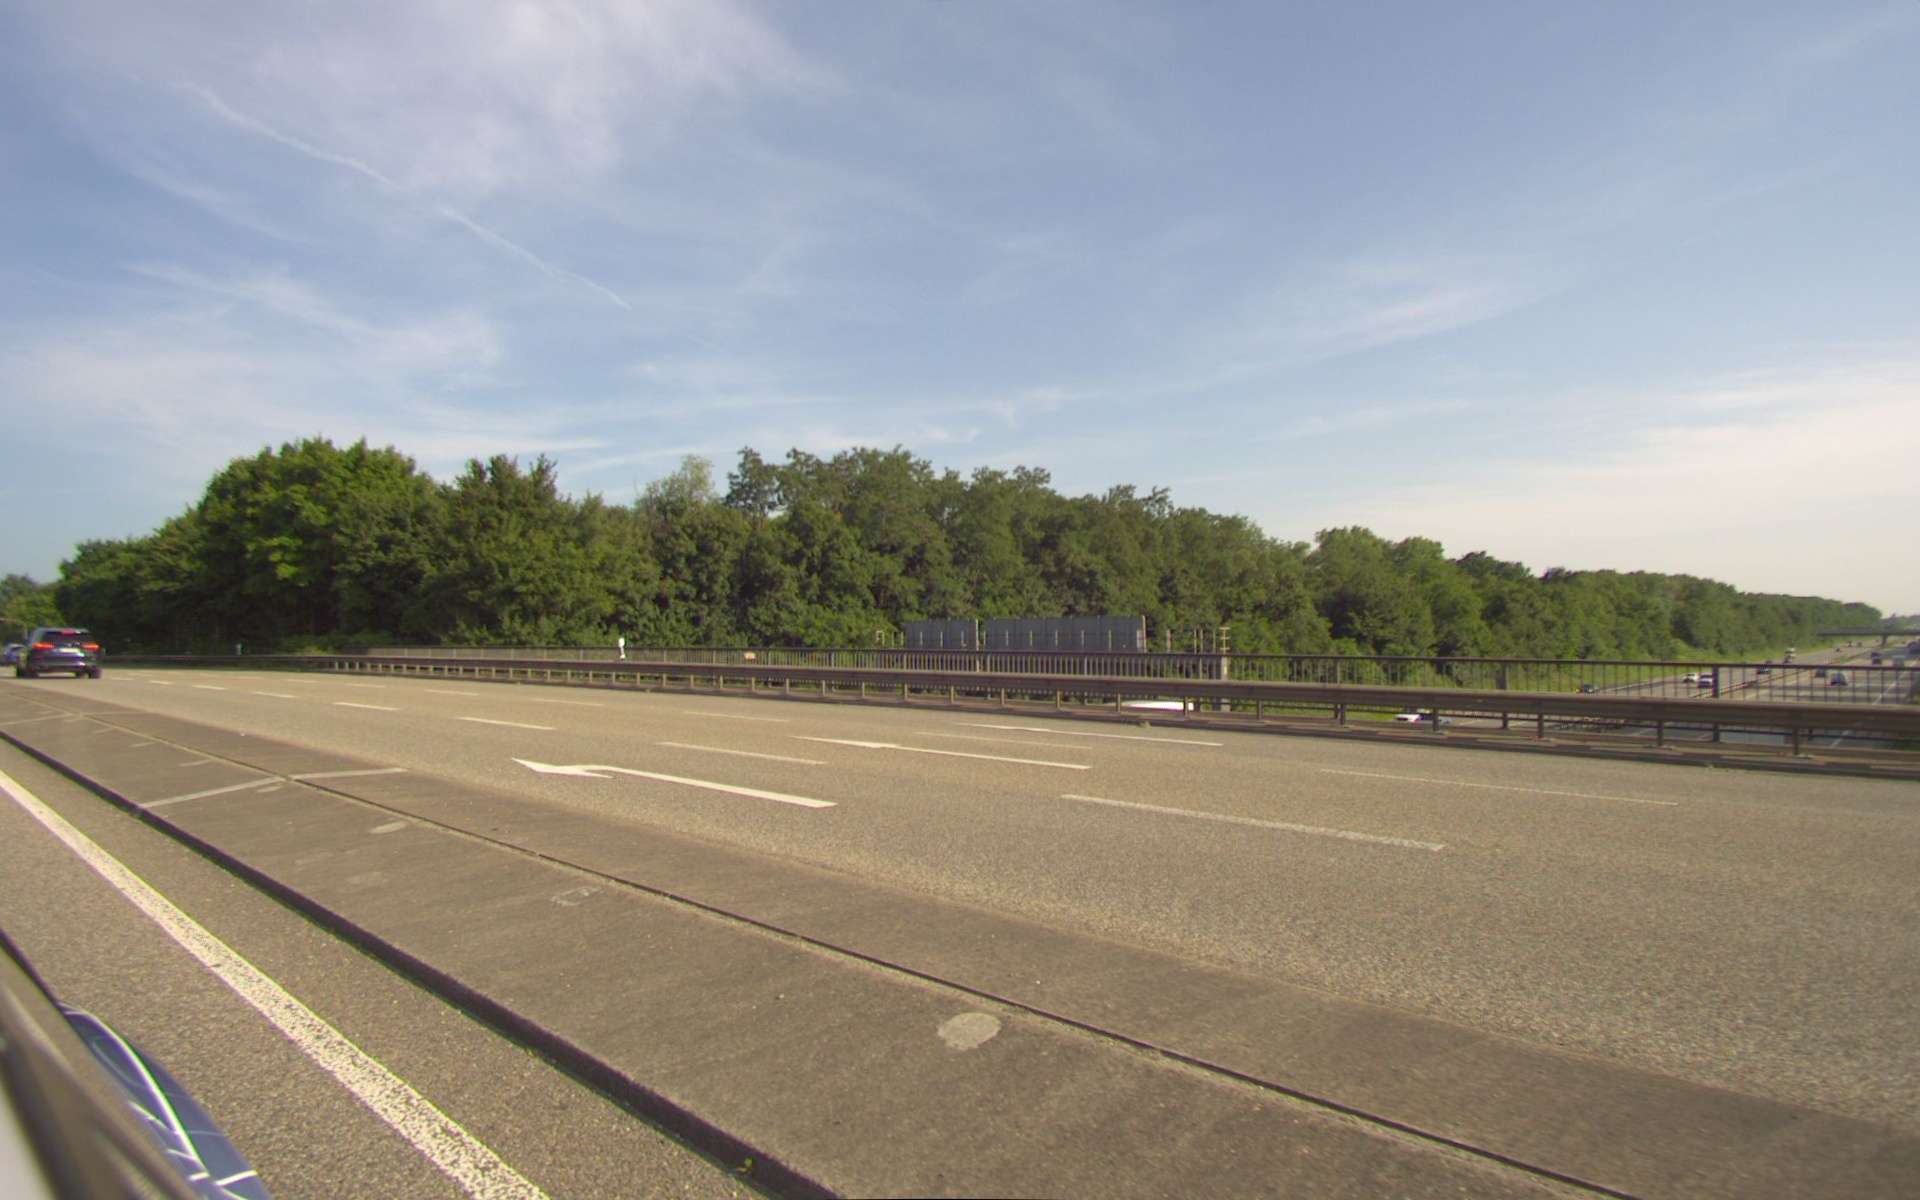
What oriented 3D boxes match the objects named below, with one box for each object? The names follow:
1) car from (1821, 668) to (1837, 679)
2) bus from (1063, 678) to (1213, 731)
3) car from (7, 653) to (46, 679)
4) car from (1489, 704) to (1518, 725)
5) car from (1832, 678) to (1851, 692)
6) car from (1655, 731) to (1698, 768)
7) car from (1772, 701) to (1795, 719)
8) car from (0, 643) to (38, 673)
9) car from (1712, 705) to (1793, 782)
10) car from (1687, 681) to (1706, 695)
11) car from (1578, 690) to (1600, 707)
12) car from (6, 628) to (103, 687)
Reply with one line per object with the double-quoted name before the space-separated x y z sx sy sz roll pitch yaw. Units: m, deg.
"car" 144.716 12.220 168.561 1.879 1.737 4.134 -2 -3 39
"bus" 10.398 6.028 57.927 10.784 2.028 2.316 11 -8 -42
"car" -76.428 5.382 82.856 4.417 1.842 1.895 -1 0 41
"car" 57.108 11.962 106.284 1.879 1.737 4.134 -2 -1 39
"car" 128.840 12.434 147.931 1.879 1.737 4.134 -2 -3 39
"car" 44.092 9.155 62.255 1.879 1.737 4.134 -2 -3 39
"car" 93.550 12.493 114.988 1.879 1.737 4.134 -2 -3 39
"car" -65.241 3.964 69.784 4.417 1.842 1.895 -1 0 41
"car" 36.676 6.678 46.878 2.762 3.142 6.232 -1 -8 38
"car" 115.322 13.747 158.376 1.881 1.736 4.130 -2 2 43
"car" 79.818 12.449 128.405 1.879 1.737 4.134 -2 -1 39
"car" -32.022 1.969 35.744 4.616 1.842 1.973 -1 0 41
